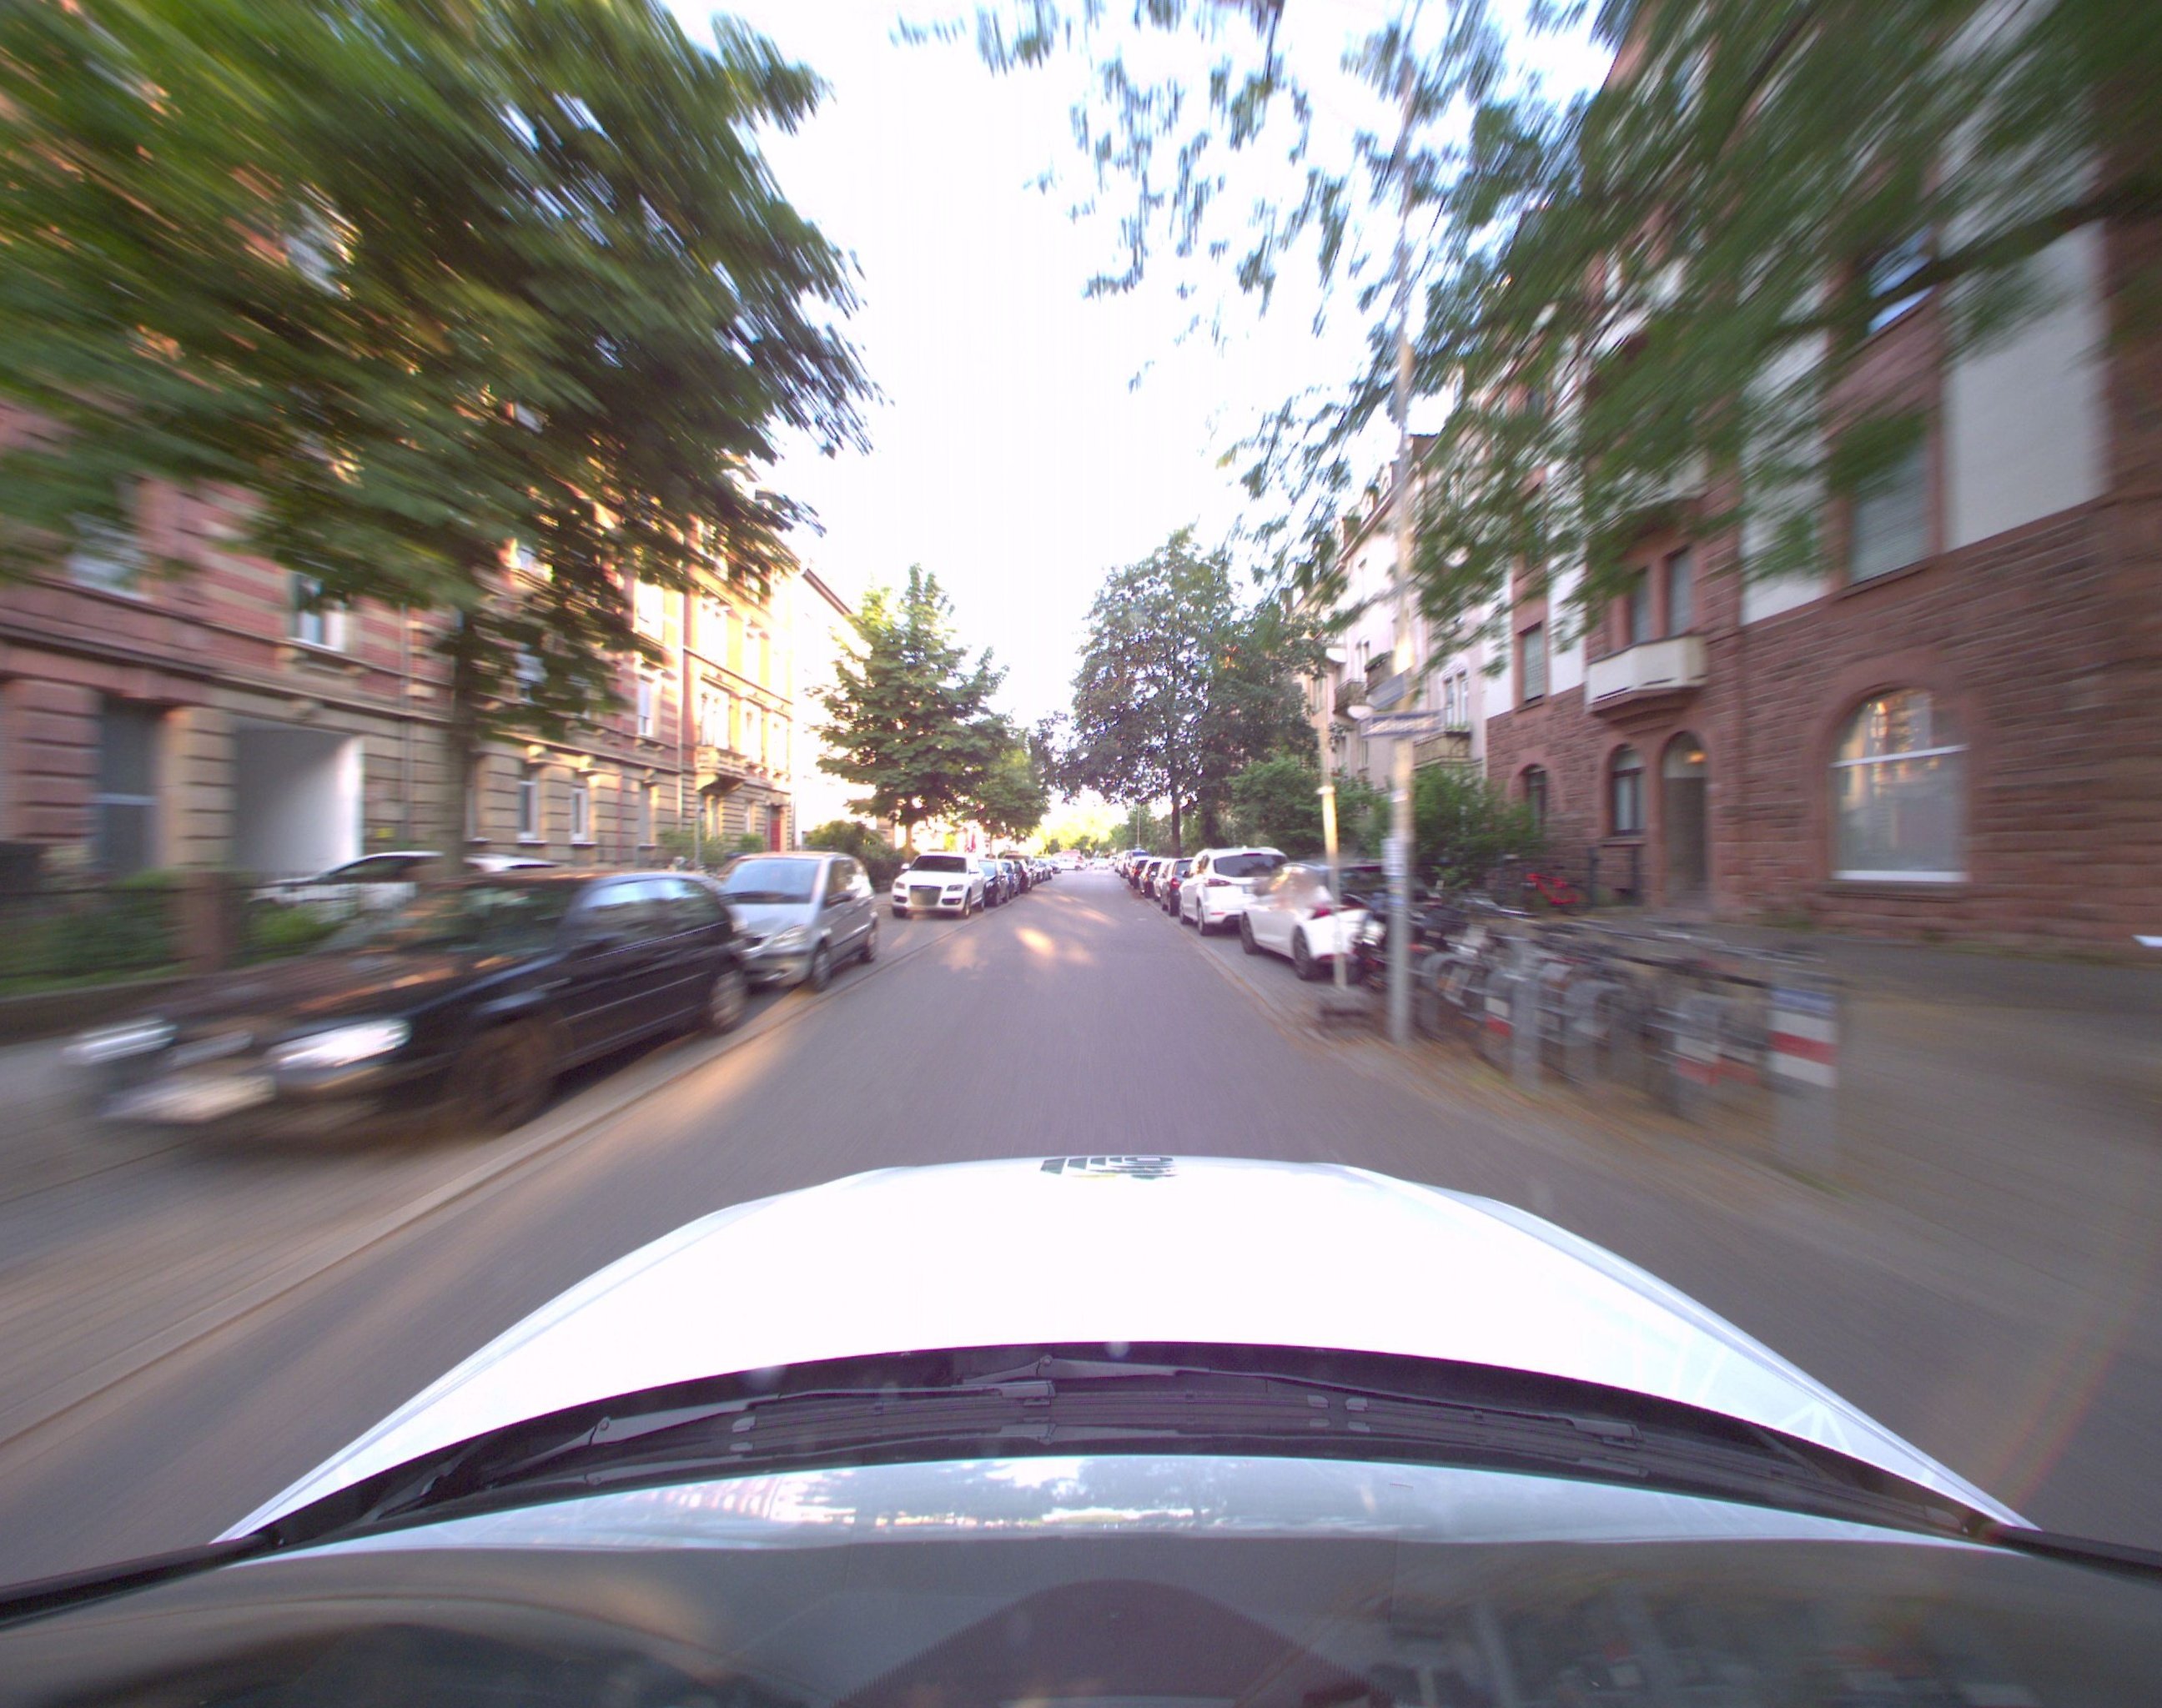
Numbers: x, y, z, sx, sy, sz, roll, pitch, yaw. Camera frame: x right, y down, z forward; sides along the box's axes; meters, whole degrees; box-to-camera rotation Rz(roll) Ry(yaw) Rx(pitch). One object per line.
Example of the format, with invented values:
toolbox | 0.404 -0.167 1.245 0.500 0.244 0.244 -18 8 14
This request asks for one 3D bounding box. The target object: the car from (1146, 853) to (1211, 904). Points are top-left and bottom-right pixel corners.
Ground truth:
car | 3.219 0.774 27.500 1.682 1.606 3.746 0 0 -1

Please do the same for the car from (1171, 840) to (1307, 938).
car | 3.036 0.628 16.646 1.793 1.711 4.598 -1 0 -1

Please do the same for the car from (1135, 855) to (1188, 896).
car | 3.098 0.790 31.932 1.681 1.441 4.210 -2 -1 1

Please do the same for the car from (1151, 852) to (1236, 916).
car | 2.994 0.769 22.449 1.682 1.606 4.207 0 0 -1

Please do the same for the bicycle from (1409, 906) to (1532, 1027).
bicycle | 3.542 0.989 7.389 1.230 0.951 0.327 -1 1 -27

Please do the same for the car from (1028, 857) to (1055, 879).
car | -2.744 0.946 57.617 1.593 1.441 3.839 0 0 2

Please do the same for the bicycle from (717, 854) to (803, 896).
bicycle | -10.313 0.660 26.205 2.515 1.192 0.645 3 0 6

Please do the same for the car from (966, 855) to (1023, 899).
car | -3.275 0.846 31.410 1.709 1.566 3.789 0 0 1

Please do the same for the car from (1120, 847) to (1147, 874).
car | 3.827 0.474 60.280 1.675 1.941 3.878 0 -1 -1

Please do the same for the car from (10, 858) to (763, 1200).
car | -3.882 0.778 5.604 1.609 1.470 3.965 0 0 4

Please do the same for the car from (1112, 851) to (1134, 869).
car | 3.891 0.547 75.811 1.682 1.606 3.937 0 0 -1

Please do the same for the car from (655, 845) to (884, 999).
car | -3.711 0.707 10.402 1.591 1.603 3.741 0 0 -2

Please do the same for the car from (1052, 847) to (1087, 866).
car | -1.407 0.346 102.764 4.337 2.318 1.745 0 0 -1

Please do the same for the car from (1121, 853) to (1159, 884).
car | 3.175 0.781 44.248 1.682 1.606 3.937 0 0 -1

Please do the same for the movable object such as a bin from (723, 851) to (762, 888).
movable object such as a bin | -11.965 0.541 28.834 1.098 1.209 1.001 2 1 -13

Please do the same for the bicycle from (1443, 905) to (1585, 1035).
bicycle | 3.608 0.934 6.774 1.228 0.947 0.328 -1 1 -21

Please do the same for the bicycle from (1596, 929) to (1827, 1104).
bicycle | 3.945 1.000 5.118 1.221 0.987 0.330 -2 1 -3

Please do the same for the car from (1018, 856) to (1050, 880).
car | -2.963 0.889 51.653 1.709 1.441 3.631 0 0 1

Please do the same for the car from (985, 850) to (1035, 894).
car | -3.052 0.738 35.566 1.709 1.790 4.216 0 0 1

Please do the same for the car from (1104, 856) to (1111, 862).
car | 6.525 1.232 199.454 1.710 1.596 3.483 0 0 1

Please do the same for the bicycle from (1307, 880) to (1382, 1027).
bicycle | 2.496 0.856 7.622 0.439 1.173 1.646 0 0 26

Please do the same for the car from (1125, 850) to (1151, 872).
car | 3.915 0.484 56.508 1.534 1.521 3.429 0 -1 -1

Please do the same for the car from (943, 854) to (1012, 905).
car | -3.337 0.814 26.936 1.709 1.566 3.781 0 -1 1

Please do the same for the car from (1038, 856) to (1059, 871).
car | -3.161 0.930 79.893 1.709 1.486 3.632 0 -1 2

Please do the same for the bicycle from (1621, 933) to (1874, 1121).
bicycle | 3.871 0.991 4.758 1.220 0.987 0.330 -1 1 -1

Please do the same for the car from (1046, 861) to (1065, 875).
car | -2.637 1.476 85.458 1.709 1.441 3.632 0 0 2

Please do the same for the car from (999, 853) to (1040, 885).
car | -3.171 0.740 42.782 1.709 1.596 4.520 0 0 1

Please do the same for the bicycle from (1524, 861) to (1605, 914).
bicycle | 10.009 0.687 16.866 1.505 1.034 0.330 -1 1 -1

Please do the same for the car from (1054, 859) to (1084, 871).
car | -1.503 1.299 100.026 3.610 1.461 1.605 0 0 -3

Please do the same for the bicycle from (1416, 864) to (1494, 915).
bicycle | 7.941 0.749 17.299 1.505 1.034 0.330 -1 1 -1

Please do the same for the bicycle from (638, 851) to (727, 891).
bicycle | -13.226 0.568 27.062 2.528 1.192 0.641 2 0 -10

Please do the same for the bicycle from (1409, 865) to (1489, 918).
bicycle | 7.583 0.772 16.789 1.505 1.034 0.330 -1 1 -1

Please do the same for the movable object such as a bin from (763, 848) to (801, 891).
movable object such as a bin | -10.450 0.535 28.487 1.098 1.414 1.001 2 1 -13

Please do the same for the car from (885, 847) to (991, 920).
car | -3.656 0.694 21.627 1.914 1.717 4.429 0 0 1

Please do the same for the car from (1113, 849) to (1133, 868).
car | 4.100 0.427 80.734 1.682 1.811 3.937 0 -1 -1

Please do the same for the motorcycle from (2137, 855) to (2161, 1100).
motorcycle | 6.142 0.734 4.181 0.578 1.408 2.226 0 1 45

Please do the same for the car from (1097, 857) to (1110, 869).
car | 3.077 1.203 112.090 1.807 1.596 3.483 0 0 1

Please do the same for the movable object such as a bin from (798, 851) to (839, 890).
movable object such as a bin | -9.213 0.569 28.642 1.008 1.321 1.007 2 1 6

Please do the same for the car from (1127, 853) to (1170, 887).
car | 3.257 0.764 40.022 1.682 1.606 3.937 0 0 -1

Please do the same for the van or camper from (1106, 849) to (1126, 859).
van or camper | 9.634 0.068 223.914 5.263 2.791 1.547 0 0 -10

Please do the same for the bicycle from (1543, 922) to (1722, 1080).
bicycle | 3.847 0.992 5.679 1.226 0.963 0.329 -1 1 -16

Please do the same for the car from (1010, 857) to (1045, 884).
car | -3.076 0.944 47.349 1.709 1.465 3.988 0 0 1

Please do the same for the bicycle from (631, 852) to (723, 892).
bicycle | -13.140 0.578 26.547 2.528 1.192 0.641 2 0 -10

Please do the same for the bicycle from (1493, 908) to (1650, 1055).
bicycle | 3.664 0.917 6.073 1.228 0.957 0.328 -1 1 -21

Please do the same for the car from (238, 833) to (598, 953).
car | -10.133 0.567 12.685 4.080 1.527 1.709 3 0 -1
